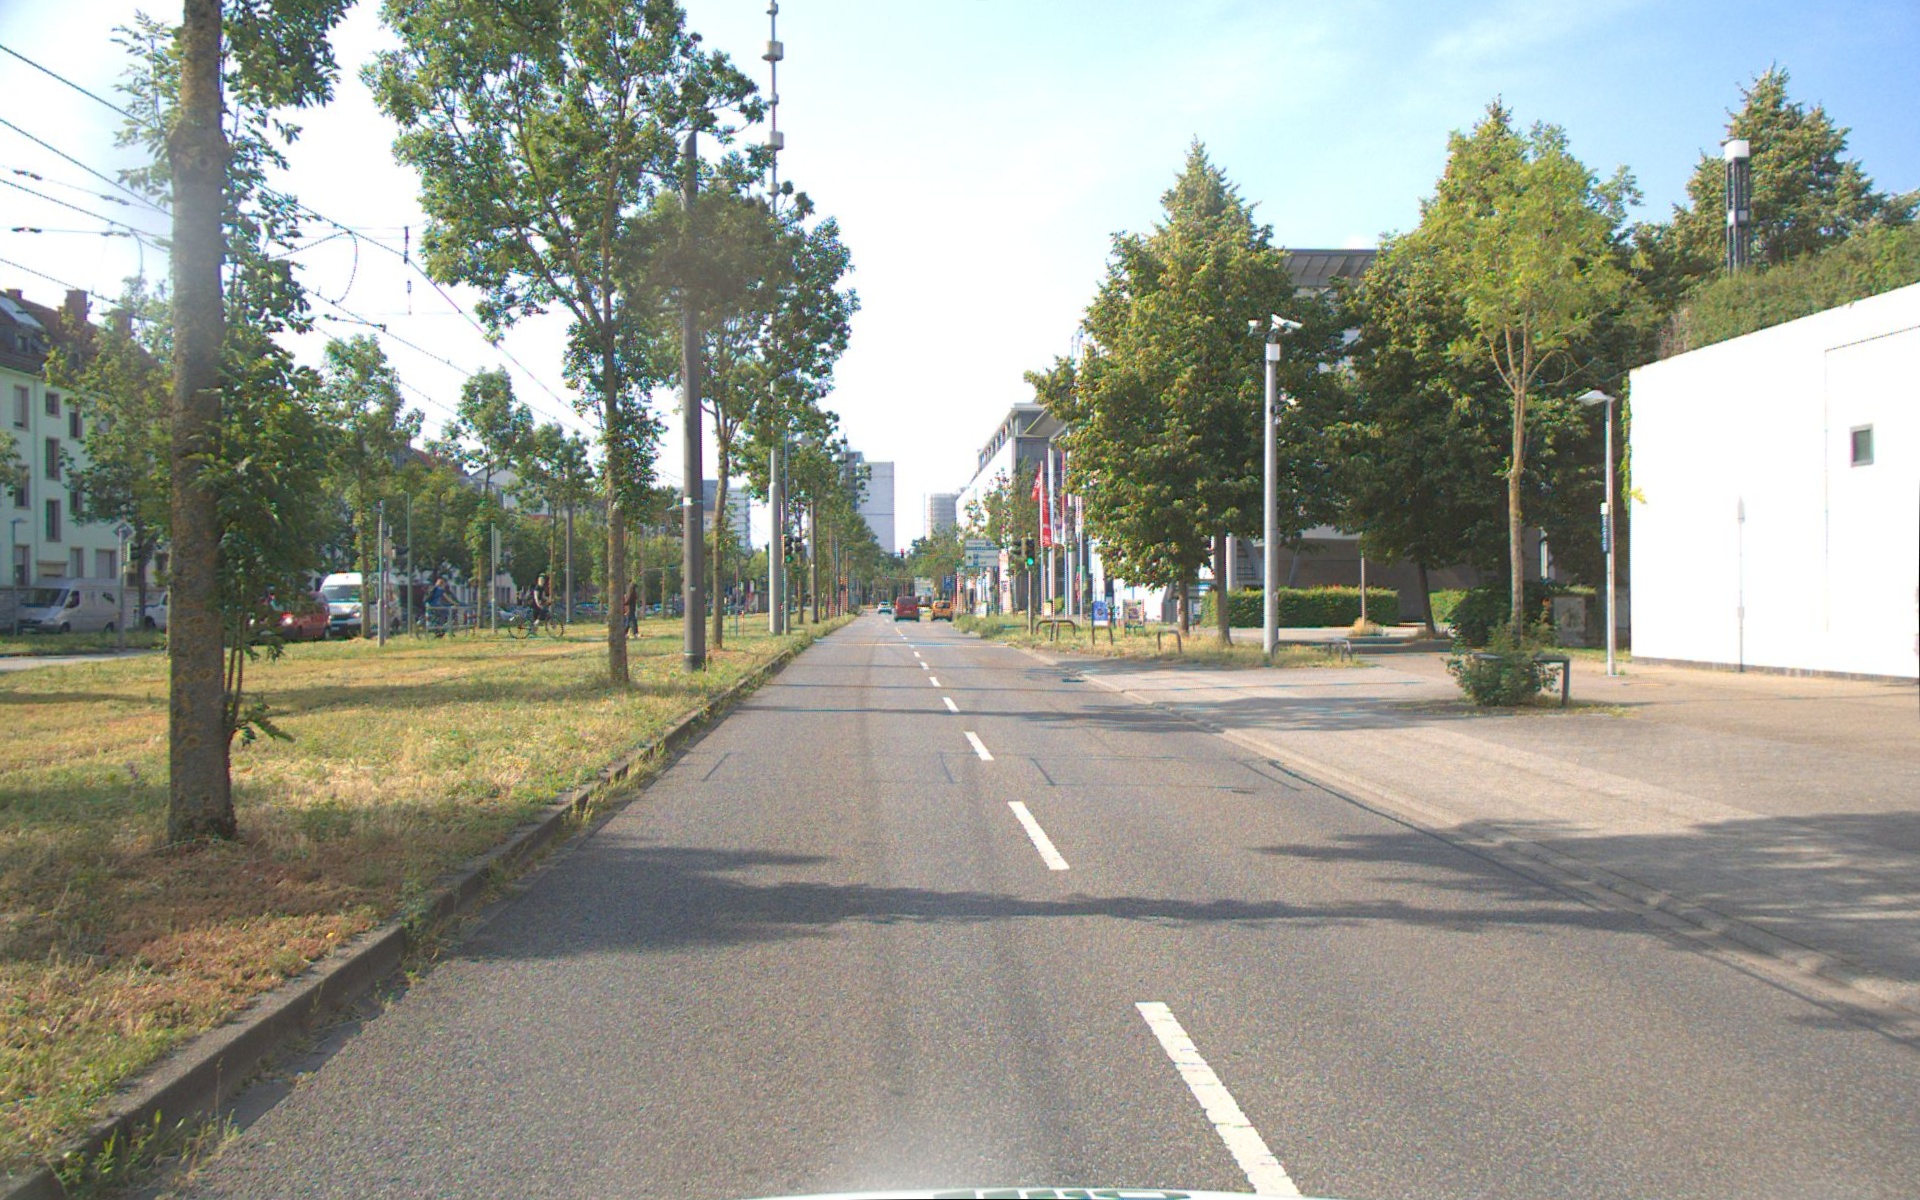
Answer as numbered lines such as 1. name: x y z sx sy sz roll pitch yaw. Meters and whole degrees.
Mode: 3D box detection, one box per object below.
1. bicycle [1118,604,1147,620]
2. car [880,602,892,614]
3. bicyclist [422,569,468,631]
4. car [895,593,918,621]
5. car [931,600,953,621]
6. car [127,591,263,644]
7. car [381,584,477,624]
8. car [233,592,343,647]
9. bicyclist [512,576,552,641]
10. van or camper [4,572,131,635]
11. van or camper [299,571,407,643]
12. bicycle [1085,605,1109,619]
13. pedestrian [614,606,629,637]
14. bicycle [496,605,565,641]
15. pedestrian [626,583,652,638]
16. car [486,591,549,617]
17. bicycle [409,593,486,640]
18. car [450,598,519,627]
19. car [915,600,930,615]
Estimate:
1. bicycle: 10.328 0.739 99.028 1.590 0.903 0.550 2 -1 -5
2. car: -10.417 1.159 232.742 1.713 1.679 3.214 2 -1 -2
3. bicyclist: -15.383 0.002 49.388 1.134 1.792 0.679 2 -1 -30
4. car: -4.068 0.555 125.570 1.713 2.049 3.214 2 -1 -2
5. car: -1.474 0.878 137.645 1.713 1.679 3.214 2 -1 -2
6. car: -28.656 0.650 61.909 5.212 1.768 1.995 2 -1 31
7. car: -30.022 0.228 93.521 5.112 2.049 1.876 2 -1 23
8. car: -22.904 0.657 56.561 1.924 1.723 4.297 2 0 1
9. bicyclist: -13.237 0.274 51.195 1.127 1.968 0.684 2 -1 -14
10. van or camper: -35.658 0.159 66.313 1.953 2.369 5.826 2 0 -1
11. van or camper: -23.113 0.269 63.281 2.159 2.575 6.025 2 0 -4
12. bicycle: 9.432 0.822 113.777 1.590 0.903 0.550 2 -1 -5
13. pedestrian: -10.054 0.643 49.191 0.334 0.890 0.461 2 -1 -2
14. bicycle: -13.272 0.713 51.143 2.031 1.060 0.665 2 -1 -14
15. pedestrian: -9.519 0.311 49.043 0.612 1.599 0.710 2 -1 -2
16. car: -29.240 0.252 109.305 3.906 1.557 1.463 2 -1 23
17. bicycle: -15.309 0.498 49.439 2.043 1.347 0.776 2 -1 -29
18. car: -28.285 0.737 98.369 3.906 1.557 1.463 2 -1 23
19. car: -4.367 0.925 191.847 1.713 1.679 3.214 2 -1 -2
